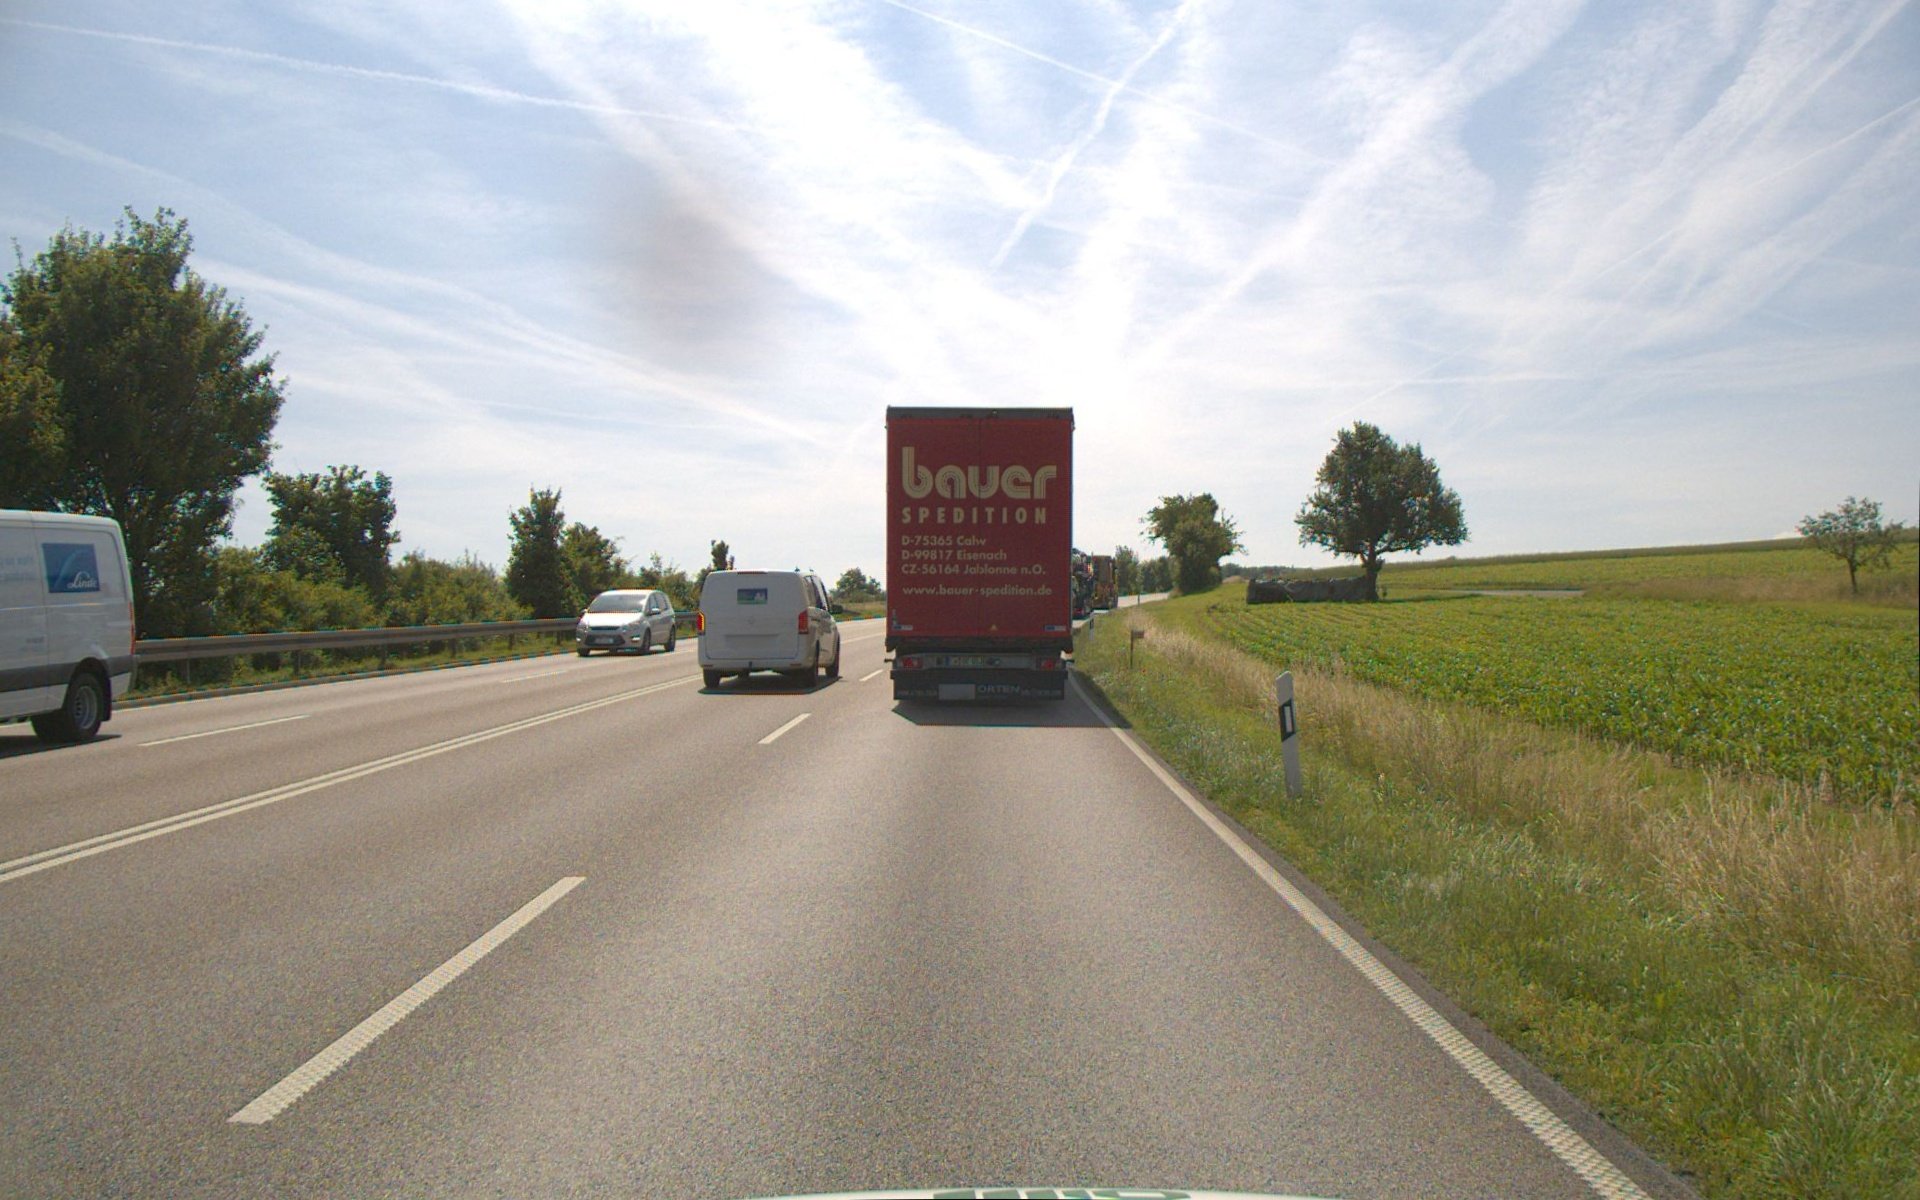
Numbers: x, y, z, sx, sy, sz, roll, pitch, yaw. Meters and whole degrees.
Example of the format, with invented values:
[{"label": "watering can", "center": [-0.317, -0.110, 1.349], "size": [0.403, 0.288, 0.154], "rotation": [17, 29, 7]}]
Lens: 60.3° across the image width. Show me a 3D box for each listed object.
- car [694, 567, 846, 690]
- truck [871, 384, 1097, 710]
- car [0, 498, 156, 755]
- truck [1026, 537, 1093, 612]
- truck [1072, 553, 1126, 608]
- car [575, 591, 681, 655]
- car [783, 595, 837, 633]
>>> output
[{"label": "car", "center": [-3.150, 0.437, 28.513], "size": [1.866, 1.917, 5.432], "rotation": [0, 0, 1]}, {"label": "truck", "center": [0.266, -0.729, 30.029], "size": [2.945, 4.253, 16.712], "rotation": [0, 0, 0]}, {"label": "car", "center": [-10.114, 0.259, 15.707], "size": [2.045, 2.436, 5.844], "rotation": [0, 0, 0]}, {"label": "truck", "center": [5.907, -1.415, 95.822], "size": [2.982, 3.978, 15.627], "rotation": [-1, 0, 7]}, {"label": "truck", "center": [10.997, -1.476, 129.263], "size": [2.982, 3.978, 18.413], "rotation": [-1, 0, 8]}, {"label": "car", "center": [-8.728, 0.568, 43.819], "size": [1.775, 1.596, 4.684], "rotation": [-1, 0, 1]}, {"label": "car", "center": [-6.118, 0.539, 67.802], "size": [1.682, 1.487, 4.216], "rotation": [0, 0, 2]}]
